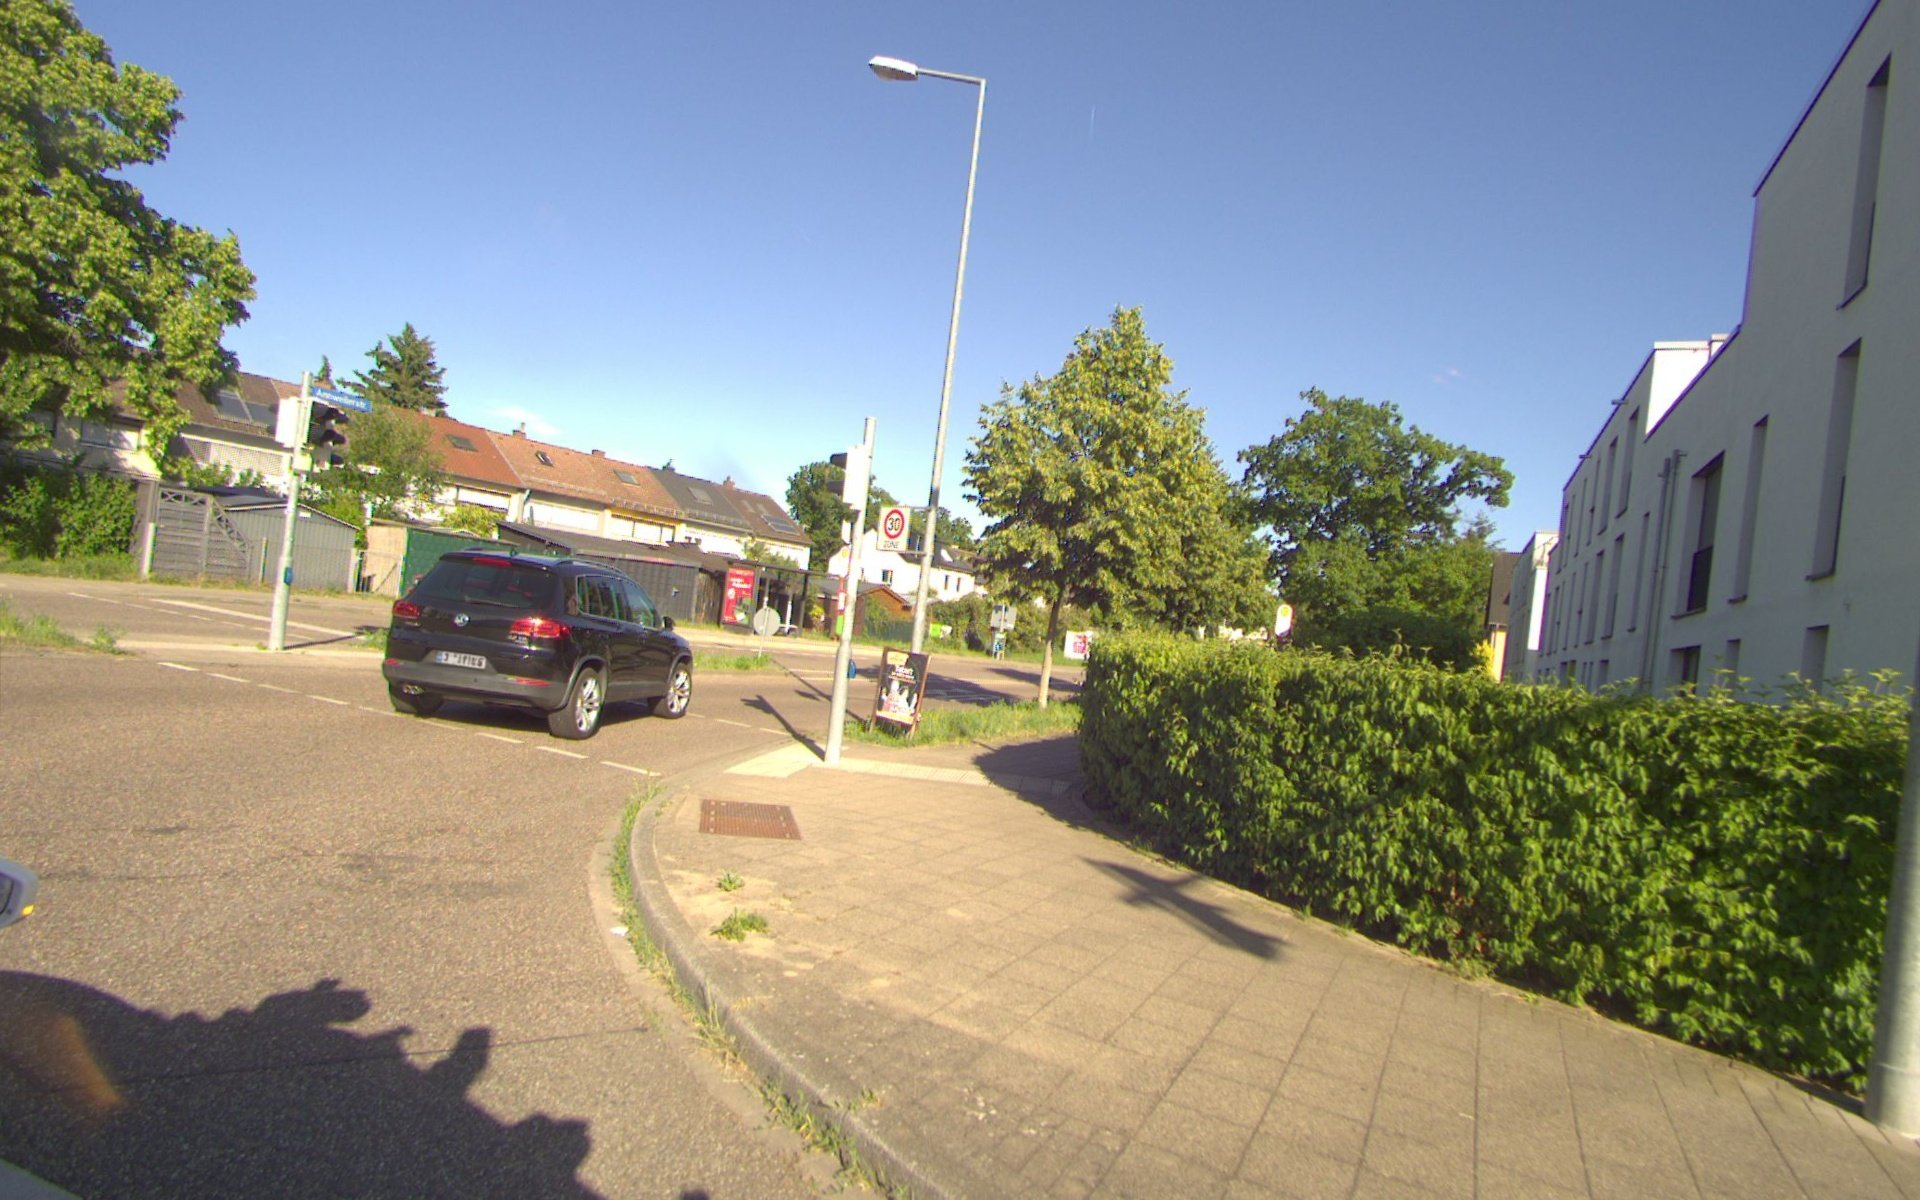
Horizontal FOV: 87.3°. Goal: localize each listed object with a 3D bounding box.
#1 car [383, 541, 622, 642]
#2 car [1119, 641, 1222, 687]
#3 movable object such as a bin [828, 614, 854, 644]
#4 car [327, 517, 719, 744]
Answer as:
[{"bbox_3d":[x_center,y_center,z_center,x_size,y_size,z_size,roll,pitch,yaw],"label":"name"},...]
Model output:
[{"bbox_3d":[-9.652,-0.118,21.549,1.914,1.607,4.174,7,-1,32],"label":"car"},{"bbox_3d":[10.672,3.249,51.030,4.472,1.609,2.207,8,-1,-20],"label":"car"},{"bbox_3d":[-4.465,1.084,37.750,0.585,0.980,0.557,12,2,32],"label":"movable object such as a bin"},{"bbox_3d":[-4.262,0.356,10.810,1.900,1.673,4.518,8,-2,3],"label":"car"}]
